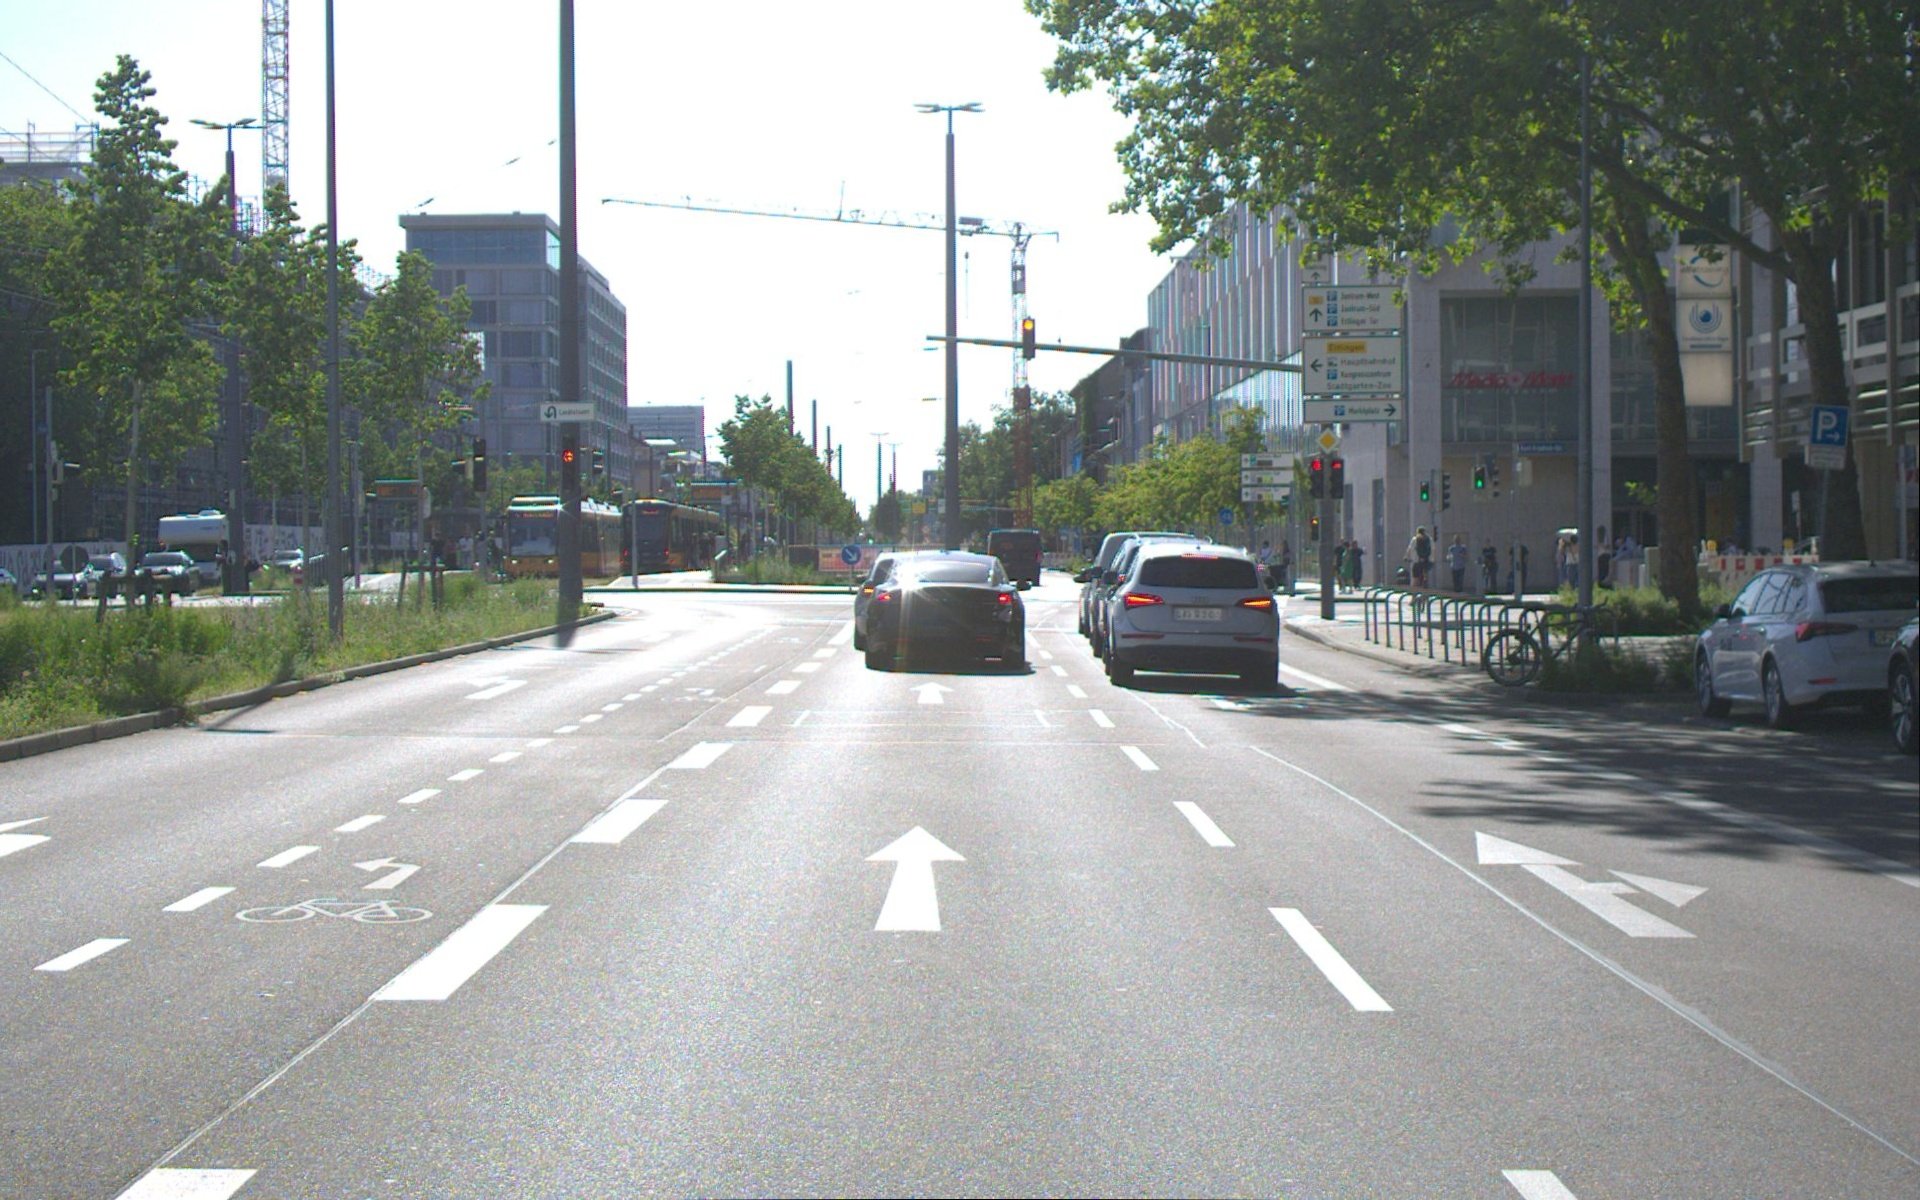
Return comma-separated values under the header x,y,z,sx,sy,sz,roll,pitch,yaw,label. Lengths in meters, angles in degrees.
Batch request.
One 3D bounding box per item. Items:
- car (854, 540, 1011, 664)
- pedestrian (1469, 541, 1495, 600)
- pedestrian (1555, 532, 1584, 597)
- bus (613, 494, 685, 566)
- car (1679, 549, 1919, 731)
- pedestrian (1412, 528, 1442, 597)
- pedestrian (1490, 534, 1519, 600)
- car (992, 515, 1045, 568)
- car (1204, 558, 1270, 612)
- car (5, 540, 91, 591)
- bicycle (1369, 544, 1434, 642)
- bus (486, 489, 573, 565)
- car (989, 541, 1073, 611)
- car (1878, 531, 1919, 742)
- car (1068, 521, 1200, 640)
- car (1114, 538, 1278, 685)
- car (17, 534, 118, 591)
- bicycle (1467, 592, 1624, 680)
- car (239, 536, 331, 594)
x,y,z,sx,sy,sz,roll,pitch,yaw,label
-0.369,-0.010,43.764,1.912,1.481,4.010,0,1,-1,car
12.831,-0.731,84.574,0.562,1.435,0.631,2,0,7,pedestrian
13.577,-0.784,76.577,0.562,1.435,0.631,2,0,7,pedestrian
-13.679,-3.034,151.773,2.627,2.949,9.900,2,0,-3,bus
7.837,0.298,31.056,1.704,1.487,4.601,0,1,0,car
9.899,-0.786,72.899,0.562,1.435,0.631,2,0,7,pedestrian
12.018,-0.727,75.942,0.562,1.435,0.631,2,0,7,pedestrian
2.312,-2.298,136.401,1.993,2.007,4.000,2,0,0,car
8.856,-0.482,110.053,1.662,1.643,3.701,2,0,-2,car
-30.415,-1.152,114.787,1.837,1.607,3.896,2,0,-1,car
6.720,-0.110,52.478,0.562,1.435,2.577,2,0,-1,bicycle
-16.810,-2.805,134.770,2.627,2.773,8.845,2,0,-3,bus
1.488,-0.524,72.958,1.721,1.427,4.186,0,1,0,car
7.920,0.284,24.354,1.704,1.558,4.192,0,1,0,car
2.679,-0.338,53.594,1.721,1.776,4.187,0,1,-2,car
2.703,0.093,40.177,1.721,1.612,4.186,0,1,1,car
-19.472,-0.813,75.122,1.376,1.174,3.220,2,0,-1,car
6.746,0.408,39.626,1.693,0.954,0.478,-2,1,-4,bicycle
-14.633,-0.753,74.646,1.376,1.174,3.220,2,0,-1,car
